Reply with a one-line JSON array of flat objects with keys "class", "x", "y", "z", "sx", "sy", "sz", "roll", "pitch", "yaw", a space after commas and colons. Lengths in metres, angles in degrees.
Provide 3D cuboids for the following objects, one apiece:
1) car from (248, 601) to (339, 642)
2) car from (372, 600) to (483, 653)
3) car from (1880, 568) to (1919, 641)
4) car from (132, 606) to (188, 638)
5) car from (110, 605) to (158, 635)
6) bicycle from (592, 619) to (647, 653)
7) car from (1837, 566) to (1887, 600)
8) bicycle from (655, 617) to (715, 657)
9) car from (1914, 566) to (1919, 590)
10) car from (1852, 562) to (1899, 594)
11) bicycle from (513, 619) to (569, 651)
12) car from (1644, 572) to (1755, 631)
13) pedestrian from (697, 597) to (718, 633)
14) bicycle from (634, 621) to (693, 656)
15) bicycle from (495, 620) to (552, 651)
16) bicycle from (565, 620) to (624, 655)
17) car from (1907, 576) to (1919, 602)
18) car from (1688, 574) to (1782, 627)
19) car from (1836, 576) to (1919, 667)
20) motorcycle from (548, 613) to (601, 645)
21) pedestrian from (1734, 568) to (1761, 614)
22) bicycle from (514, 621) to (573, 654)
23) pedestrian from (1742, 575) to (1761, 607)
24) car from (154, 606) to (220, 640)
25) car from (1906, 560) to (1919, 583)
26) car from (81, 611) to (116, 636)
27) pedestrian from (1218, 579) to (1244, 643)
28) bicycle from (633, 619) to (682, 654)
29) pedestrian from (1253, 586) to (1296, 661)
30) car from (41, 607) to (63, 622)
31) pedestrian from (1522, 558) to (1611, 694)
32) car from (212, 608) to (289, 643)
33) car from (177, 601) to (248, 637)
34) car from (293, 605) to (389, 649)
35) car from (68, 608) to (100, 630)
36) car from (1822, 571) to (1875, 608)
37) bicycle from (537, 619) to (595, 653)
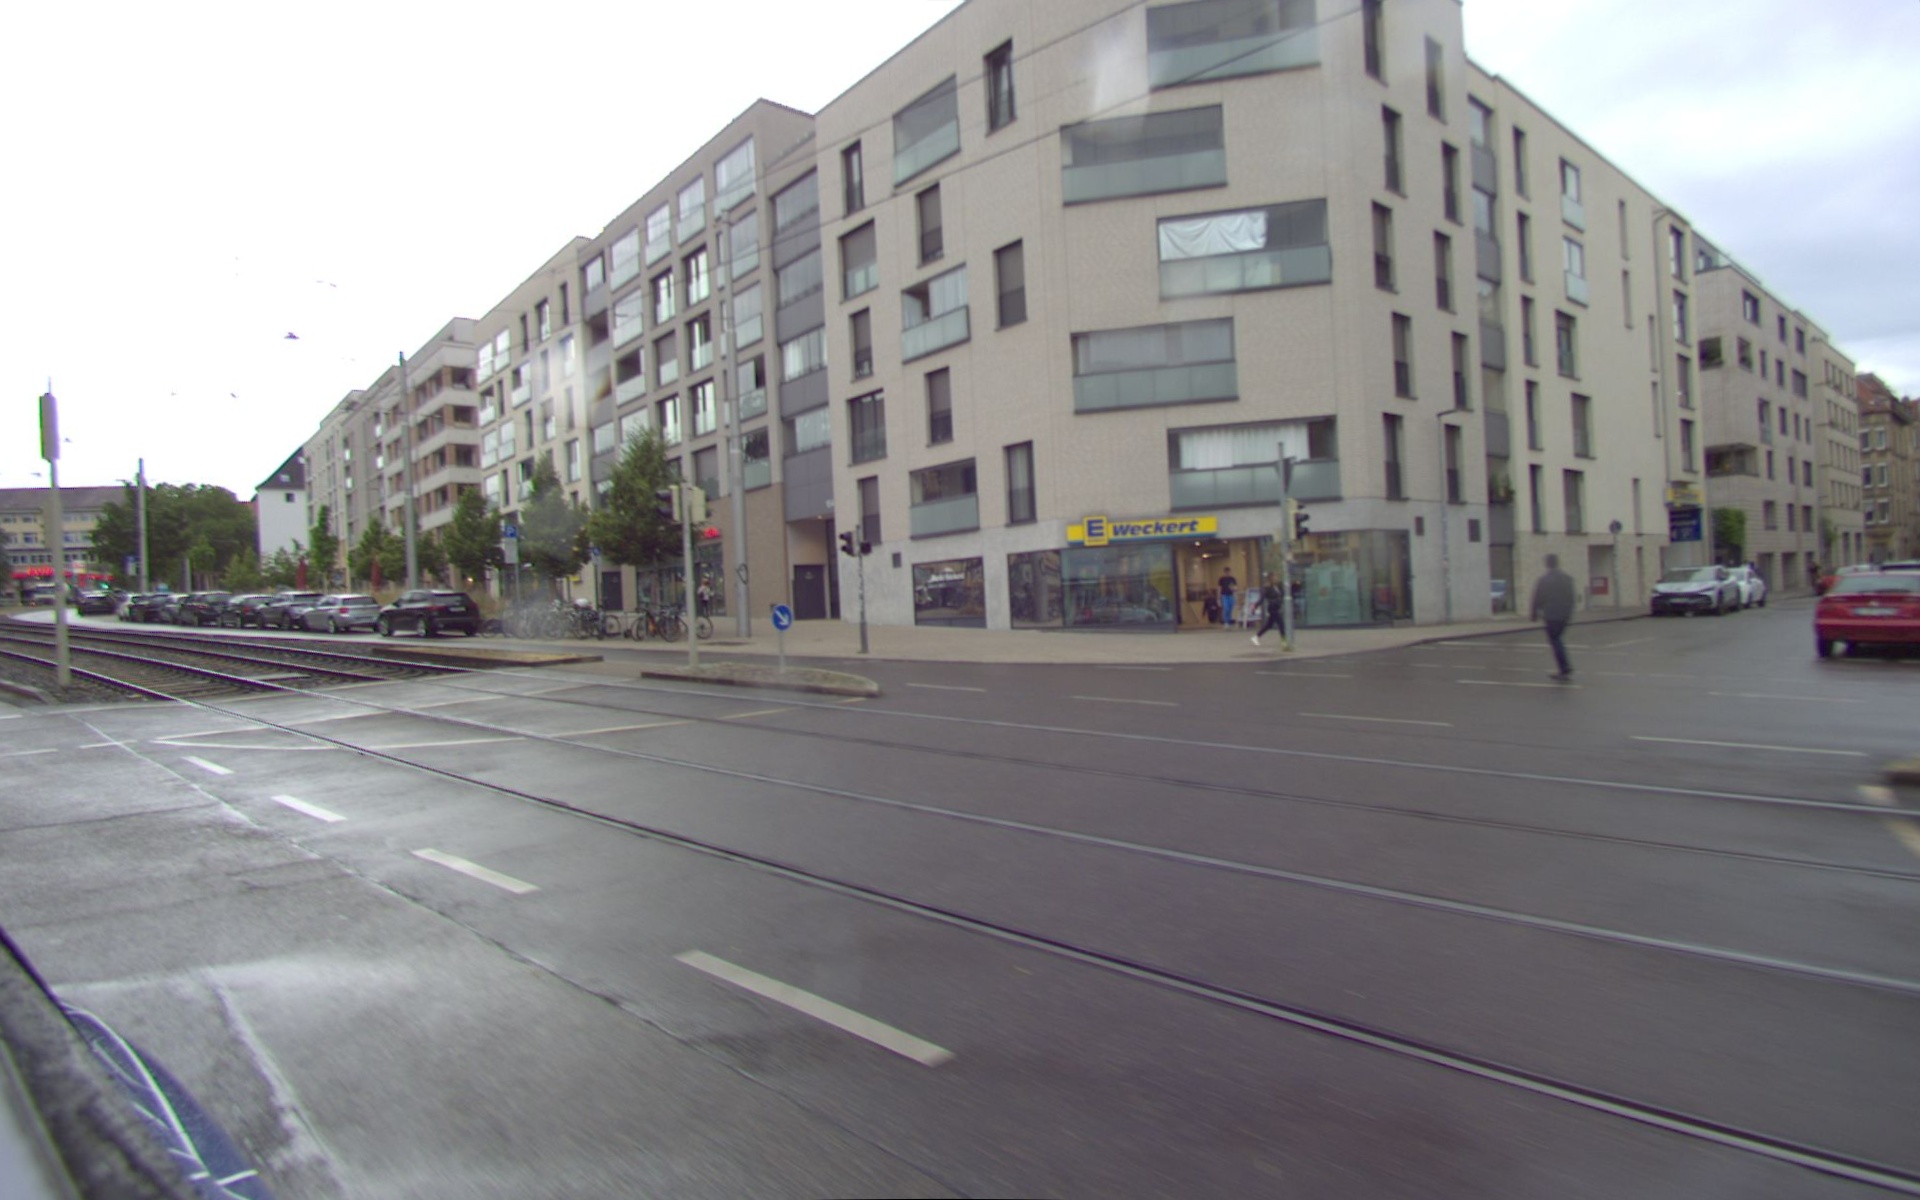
[{"class": "car", "x": -27.654, "y": 0.878, "z": 41.951, "sx": 4.038, "sy": 1.541, "sz": 1.667, "roll": 0, "pitch": 3, "yaw": 34}, {"class": "car", "x": -18.327, "y": 0.862, "z": 34.761, "sx": 4.323, "sy": 1.615, "sz": 1.664, "roll": 0, "pitch": 3, "yaw": 38}, {"class": "car", "x": 19.605, "y": 0.057, "z": 20.130, "sx": 3.649, "sy": 1.327, "sz": 1.596, "roll": -3, "pitch": 3, "yaw": -42}, {"class": "car", "x": -42.935, "y": 1.150, "z": 54.272, "sx": 4.405, "sy": 1.516, "sz": 1.662, "roll": 0, "pitch": 3, "yaw": 43}, {"class": "car", "x": -47.060, "y": 1.118, "z": 57.609, "sx": 3.781, "sy": 1.516, "sz": 1.628, "roll": 0, "pitch": 3, "yaw": 44}, {"class": "bicycle", "x": -10.315, "y": 1.089, "z": 30.739, "sx": 0.386, "sy": 0.924, "sz": 1.771, "roll": -1, "pitch": 1, "yaw": 29}, {"class": "car", "x": 49.547, "y": -0.970, "z": 55.580, "sx": 1.802, "sy": 1.607, "sz": 3.942, "roll": 1, "pitch": 5, "yaw": 45}, {"class": "bicycle", "x": -7.810, "y": 1.036, "z": 28.825, "sx": 0.439, "sy": 0.987, "sz": 1.769, "roll": 0, "pitch": 3, "yaw": 34}, {"class": "car", "x": 69.958, "y": -1.623, "z": 73.041, "sx": 3.140, "sy": 1.584, "sz": 1.410, "roll": -5, "pitch": 4, "yaw": -43}, {"class": "car", "x": 52.702, "y": -1.263, "z": 58.232, "sx": 1.802, "sy": 1.607, "sz": 3.942, "roll": 1, "pitch": 5, "yaw": 45}, {"class": "bicycle", "x": -13.590, "y": 1.137, "z": 32.855, "sx": 0.386, "sy": 0.924, "sz": 1.769, "roll": 0, "pitch": 2, "yaw": 34}, {"class": "car", "x": 24.023, "y": -0.016, "z": 32.843, "sx": 3.937, "sy": 1.607, "sz": 2.004, "roll": -5, "pitch": 4, "yaw": -39}, {"class": "pedestrian", "x": -10.804, "y": 0.632, "z": 43.309, "sx": 0.532, "sy": 1.459, "sz": 0.804, "roll": -5, "pitch": 4, "yaw": -39}, {"class": "bicycle", "x": -8.672, "y": 1.112, "z": 29.670, "sx": 0.386, "sy": 0.882, "sz": 1.768, "roll": 0, "pitch": 3, "yaw": 36}, {"class": "bicycle", "x": -14.419, "y": 1.163, "z": 33.485, "sx": 0.386, "sy": 0.924, "sz": 1.769, "roll": 0, "pitch": 2, "yaw": 34}, {"class": "bicycle", "x": -11.177, "y": 1.137, "z": 31.003, "sx": 0.386, "sy": 0.924, "sz": 1.769, "roll": 0, "pitch": 3, "yaw": 34}, {"class": "car", "x": 67.004, "y": -0.799, "z": 70.256, "sx": 3.398, "sy": 1.584, "sz": 1.655, "roll": -5, "pitch": 4, "yaw": -43}, {"class": "car", "x": 27.677, "y": -0.026, "z": 36.123, "sx": 3.937, "sy": 1.607, "sz": 1.805, "roll": -5, "pitch": 4, "yaw": -39}, {"class": "car", "x": 15.910, "y": 0.298, "z": 16.940, "sx": 3.651, "sy": 1.327, "sz": 1.595, "roll": -3, "pitch": 3, "yaw": -45}, {"class": "motorcycle", "x": -13.626, "y": 1.004, "z": 35.809, "sx": 0.542, "sy": 1.050, "sz": 1.744, "roll": 2, "pitch": 2, "yaw": 34}, {"class": "pedestrian", "x": 35.235, "y": -0.416, "z": 45.299, "sx": 0.846, "sy": 1.963, "sz": 0.817, "roll": -5, "pitch": 4, "yaw": -41}, {"class": "bicycle", "x": -13.058, "y": 1.166, "z": 31.770, "sx": 0.386, "sy": 0.924, "sz": 1.769, "roll": 0, "pitch": 2, "yaw": 34}, {"class": "pedestrian", "x": 40.319, "y": -0.455, "z": 51.572, "sx": 0.532, "sy": 1.599, "sz": 0.664, "roll": -5, "pitch": 4, "yaw": -39}, {"class": "car", "x": -39.257, "y": 1.132, "z": 51.365, "sx": 3.923, "sy": 1.516, "sz": 1.664, "roll": 0, "pitch": 3, "yaw": 38}, {"class": "car", "x": 73.093, "y": -2.193, "z": 76.991, "sx": 3.140, "sy": 1.584, "sz": 1.410, "roll": -5, "pitch": 4, "yaw": -43}, {"class": "car", "x": -60.457, "y": 1.621, "z": 71.027, "sx": 1.631, "sy": 1.474, "sz": 3.674, "roll": -5, "pitch": 4, "yaw": -43}, {"class": "pedestrian", "x": 7.487, "y": 0.308, "z": 27.952, "sx": 0.582, "sy": 1.723, "sz": 0.700, "roll": -1, "pitch": 2, "yaw": 25}, {"class": "bicycle", "x": -9.118, "y": 1.081, "z": 30.525, "sx": 0.384, "sy": 0.924, "sz": 1.777, "roll": -1, "pitch": 2, "yaw": 21}, {"class": "pedestrian", "x": 6.844, "y": 0.497, "z": 22.047, "sx": 0.769, "sy": 1.580, "sz": 0.646, "roll": -2, "pitch": 1, "yaw": 11}, {"class": "car", "x": -115.625, "y": 1.828, "z": 128.924, "sx": 1.642, "sy": 1.618, "sz": 3.817, "roll": -5, "pitch": 4, "yaw": -37}, {"class": "pedestrian", "x": 8.624, "y": 0.349, "z": 14.388, "sx": 0.959, "sy": 1.843, "sz": 0.921, "roll": 0, "pitch": 1, "yaw": 40}, {"class": "car", "x": -31.441, "y": 1.096, "z": 44.819, "sx": 4.027, "sy": 1.391, "sz": 1.664, "roll": 0, "pitch": 3, "yaw": 38}, {"class": "car", "x": -35.327, "y": 0.868, "z": 47.812, "sx": 3.923, "sy": 1.575, "sz": 1.664, "roll": 0, "pitch": 3, "yaw": 38}, {"class": "car", "x": -23.777, "y": 0.992, "z": 38.814, "sx": 4.323, "sy": 1.475, "sz": 1.664, "roll": 0, "pitch": 3, "yaw": 38}, {"class": "car", "x": -66.400, "y": 1.424, "z": 76.697, "sx": 1.631, "sy": 1.474, "sz": 3.674, "roll": -5, "pitch": 4, "yaw": -43}, {"class": "car", "x": 45.660, "y": -0.557, "z": 51.978, "sx": 1.802, "sy": 1.607, "sz": 3.942, "roll": 1, "pitch": 5, "yaw": 45}, {"class": "bicycle", "x": -12.239, "y": 1.109, "z": 31.486, "sx": 0.386, "sy": 0.924, "sz": 1.769, "roll": 0, "pitch": 2, "yaw": 34}]
